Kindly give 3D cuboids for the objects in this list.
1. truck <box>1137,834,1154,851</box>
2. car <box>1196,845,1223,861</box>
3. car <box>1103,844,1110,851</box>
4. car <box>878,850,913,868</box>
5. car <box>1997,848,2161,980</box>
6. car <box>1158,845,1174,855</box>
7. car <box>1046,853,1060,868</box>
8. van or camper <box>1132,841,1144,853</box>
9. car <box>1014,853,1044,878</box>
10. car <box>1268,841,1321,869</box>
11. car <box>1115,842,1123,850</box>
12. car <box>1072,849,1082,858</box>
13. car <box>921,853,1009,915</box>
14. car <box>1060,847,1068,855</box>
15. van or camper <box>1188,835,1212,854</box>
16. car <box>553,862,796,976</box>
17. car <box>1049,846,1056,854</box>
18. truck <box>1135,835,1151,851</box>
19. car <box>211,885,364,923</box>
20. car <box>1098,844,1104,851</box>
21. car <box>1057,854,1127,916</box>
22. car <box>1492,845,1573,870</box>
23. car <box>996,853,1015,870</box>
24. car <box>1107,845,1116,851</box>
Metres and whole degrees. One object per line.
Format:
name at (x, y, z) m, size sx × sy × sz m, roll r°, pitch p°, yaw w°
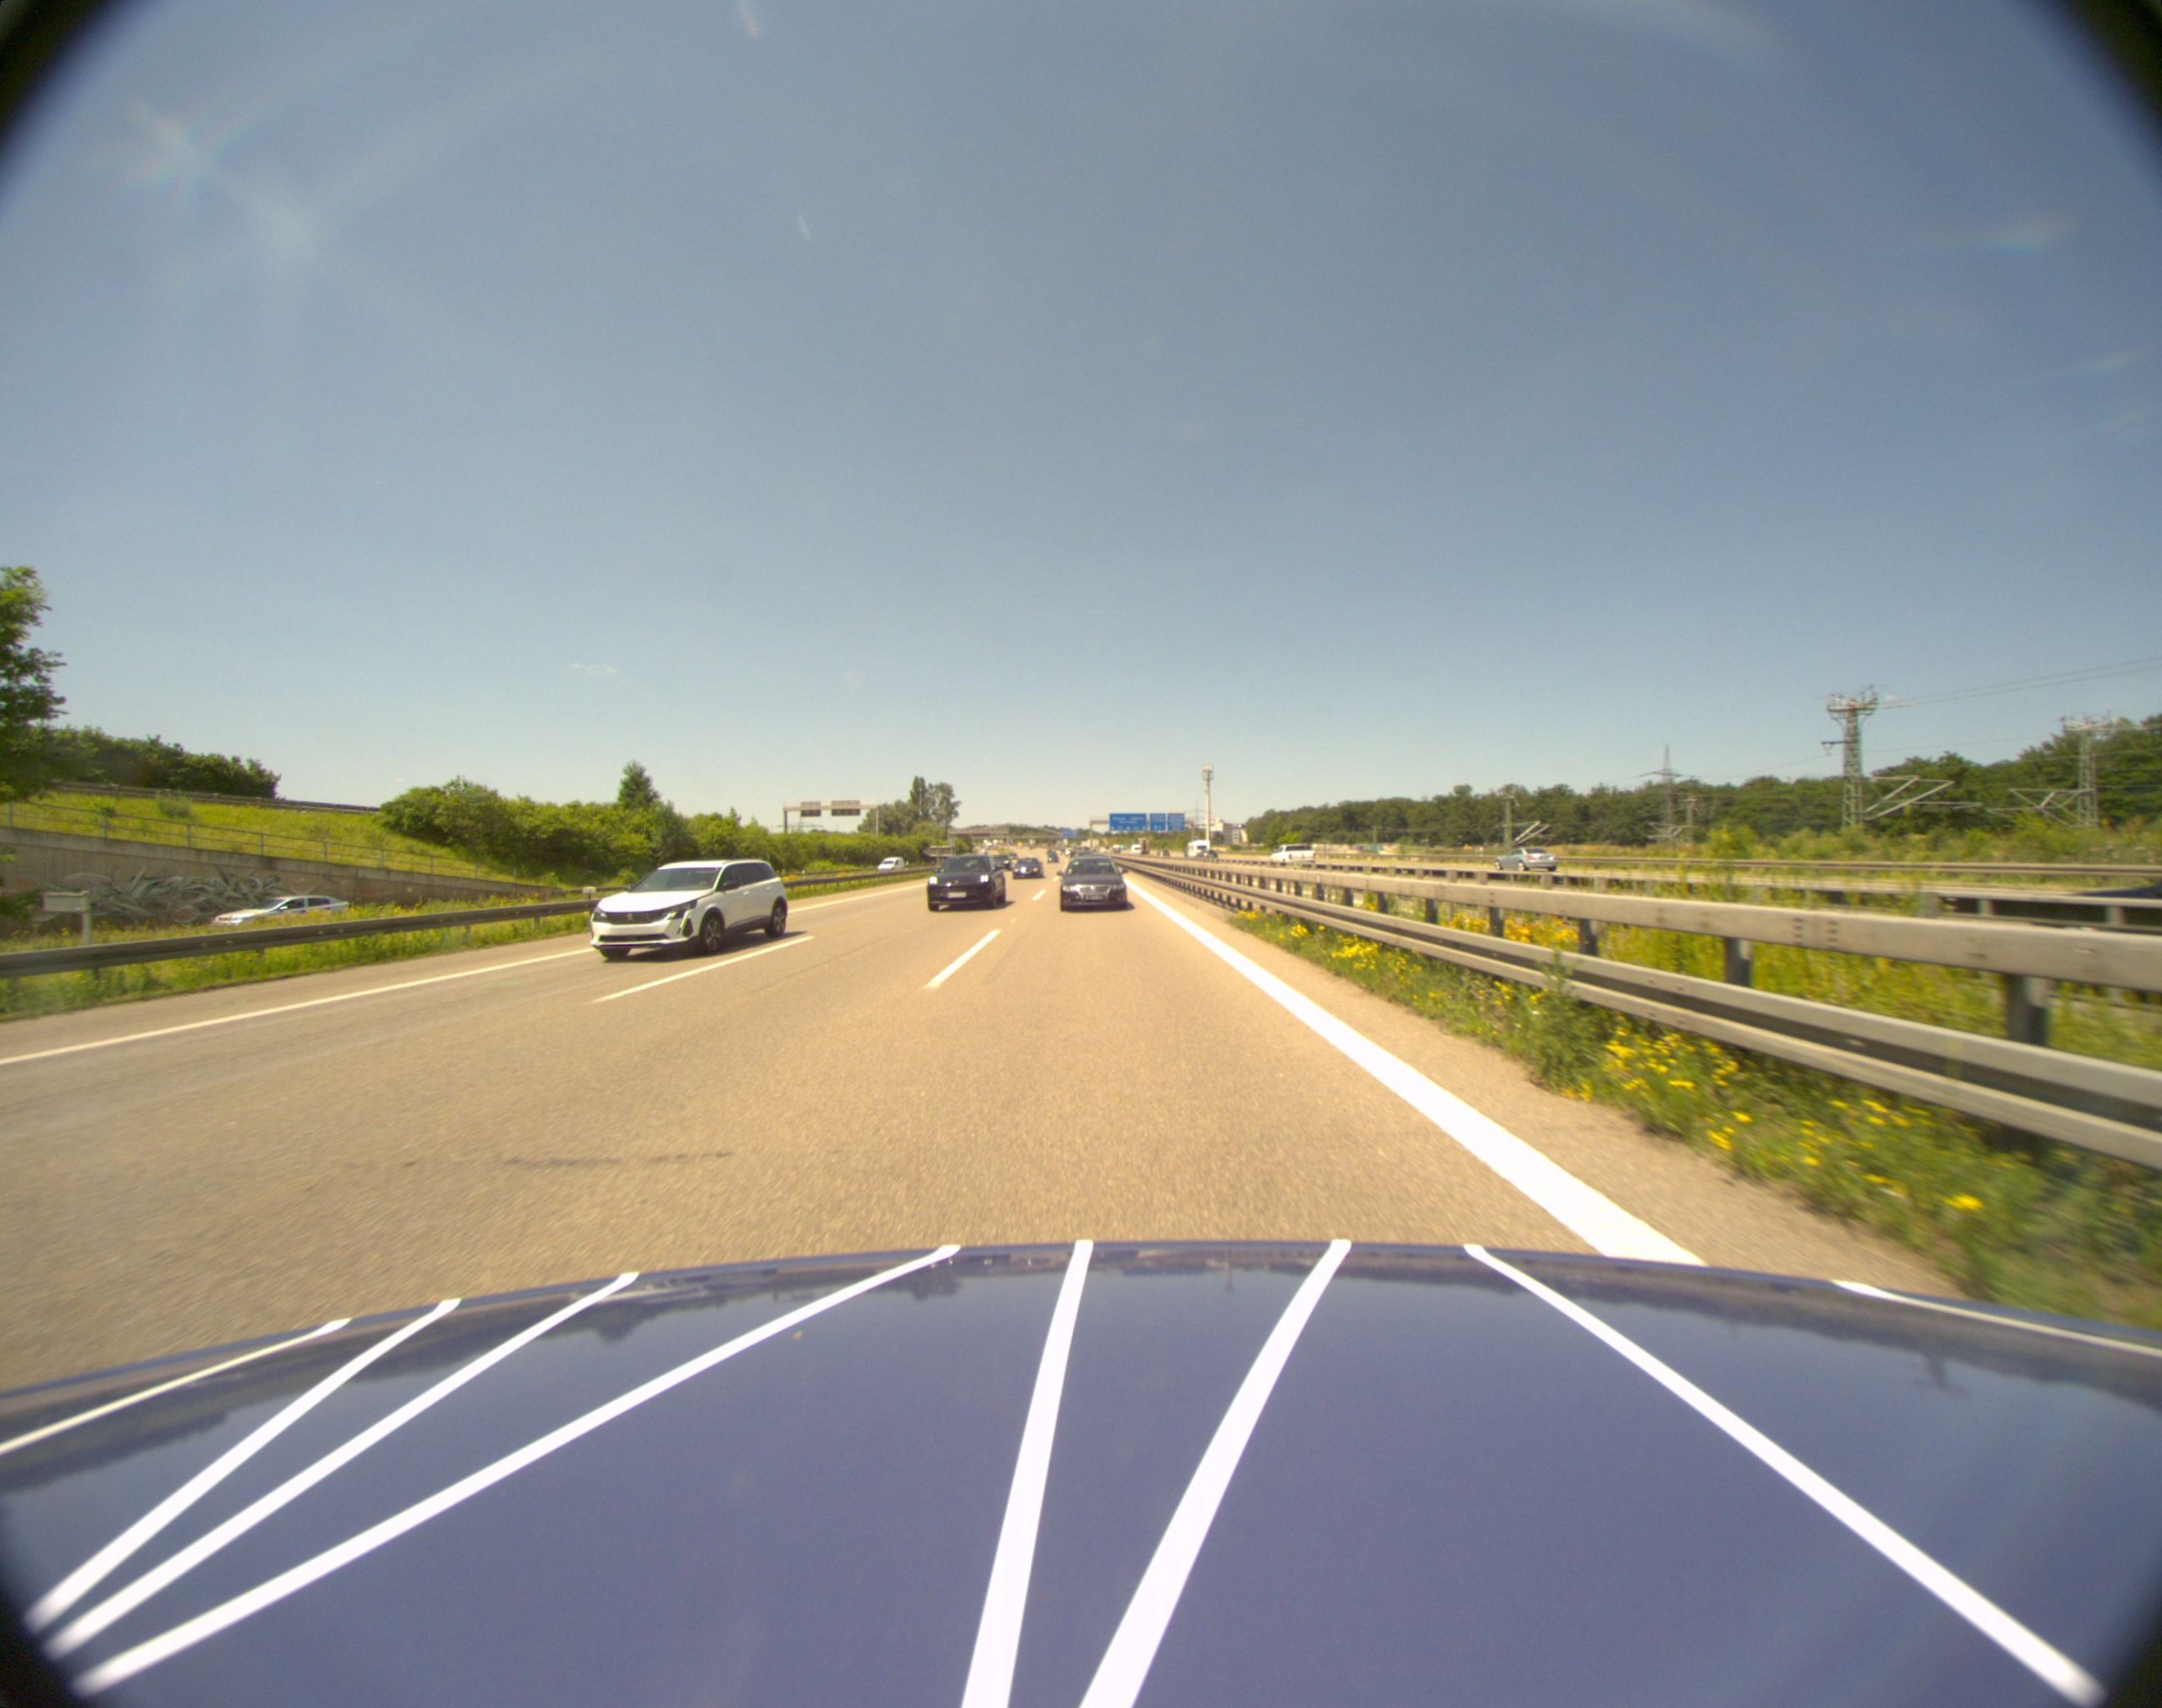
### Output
truck at (15.609, -2.729, 184.932) m, size 3.395 × 3.960 × 12.240 m, roll -2°, pitch 1°, yaw 1°
car at (13.836, -0.127, 81.996) m, size 1.999 × 1.565 × 4.549 m, roll -1°, pitch 1°, yaw 0°
car at (7.924, -2.069, 236.337) m, size 1.998 × 2.002 × 3.999 m, roll -2°, pitch 1°, yaw 0°
car at (-21.866, 0.581, 89.606) m, size 1.996 × 2.002 × 4.768 m, roll -1°, pitch 1°, yaw 13°
car at (13.429, 0.699, 8.107) m, size 1.934 × 1.475 × 4.476 m, roll -1°, pitch 1°, yaw 0°
car at (13.612, -0.628, 121.548) m, size 1.998 × 1.500 × 4.888 m, roll -2°, pitch 1°, yaw 0°
car at (-4.179, 0.957, 114.686) m, size 1.998 × 2.002 × 3.999 m, roll -2°, pitch 1°, yaw 0°
van or camper at (12.115, -1.502, 161.466) m, size 1.999 × 2.327 × 5.076 m, roll -2°, pitch 1°, yaw -2°
car at (-3.409, 0.723, 50.107) m, size 1.752 × 1.462 × 3.998 m, roll -2°, pitch 1°, yaw -2°
car at (14.513, 0.038, 51.995) m, size 1.998 × 1.820 × 5.598 m, roll -1°, pitch 1°, yaw 0°
car at (10.204, -2.069, 202.891) m, size 1.785 × 2.169 × 3.999 m, roll -2°, pitch 1°, yaw 0°
car at (-0.757, -0.162, 155.281) m, size 1.998 × 1.691 × 3.999 m, roll -2°, pitch 1°, yaw 0°
car at (-3.445, 0.832, 23.426) m, size 1.983 × 1.620 × 4.616 m, roll -2°, pitch 1°, yaw -1°
car at (-4.819, -0.879, 217.728) m, size 1.998 × 2.002 × 3.999 m, roll -2°, pitch 1°, yaw 1°
van or camper at (17.605, -1.376, 113.020) m, size 2.343 × 2.641 × 7.603 m, roll -1°, pitch 1°, yaw 0°
car at (-7.164, 1.037, 14.088) m, size 1.898 × 1.620 × 4.616 m, roll -2°, pitch 1°, yaw 1°
car at (-8.461, -1.193, 226.922) m, size 1.998 × 2.002 × 3.999 m, roll -2°, pitch 1°, yaw 1°
truck at (15.782, -2.783, 193.219) m, size 3.426 × 3.901 × 8.581 m, roll -2°, pitch 1°, yaw 1°
car at (-33.957, 2.110, 32.682) m, size 1.896 × 1.272 × 4.081 m, roll -2°, pitch 1°, yaw 13°
car at (5.800, -1.913, 221.374) m, size 1.785 × 2.023 × 3.999 m, roll -2°, pitch 1°, yaw 0°
car at (0.283, 0.788, 21.391) m, size 1.752 × 1.462 × 3.999 m, roll -2°, pitch 1°, yaw 0°
car at (24.845, 0.168, 41.978) m, size 1.998 × 1.304 × 4.162 m, roll -1°, pitch 1°, yaw 0°
car at (-7.510, 0.728, 75.541) m, size 1.752 × 1.462 × 3.998 m, roll -2°, pitch 1°, yaw -4°
car at (7.476, -1.510, 185.837) m, size 1.785 × 1.457 × 3.999 m, roll -2°, pitch 1°, yaw -2°
